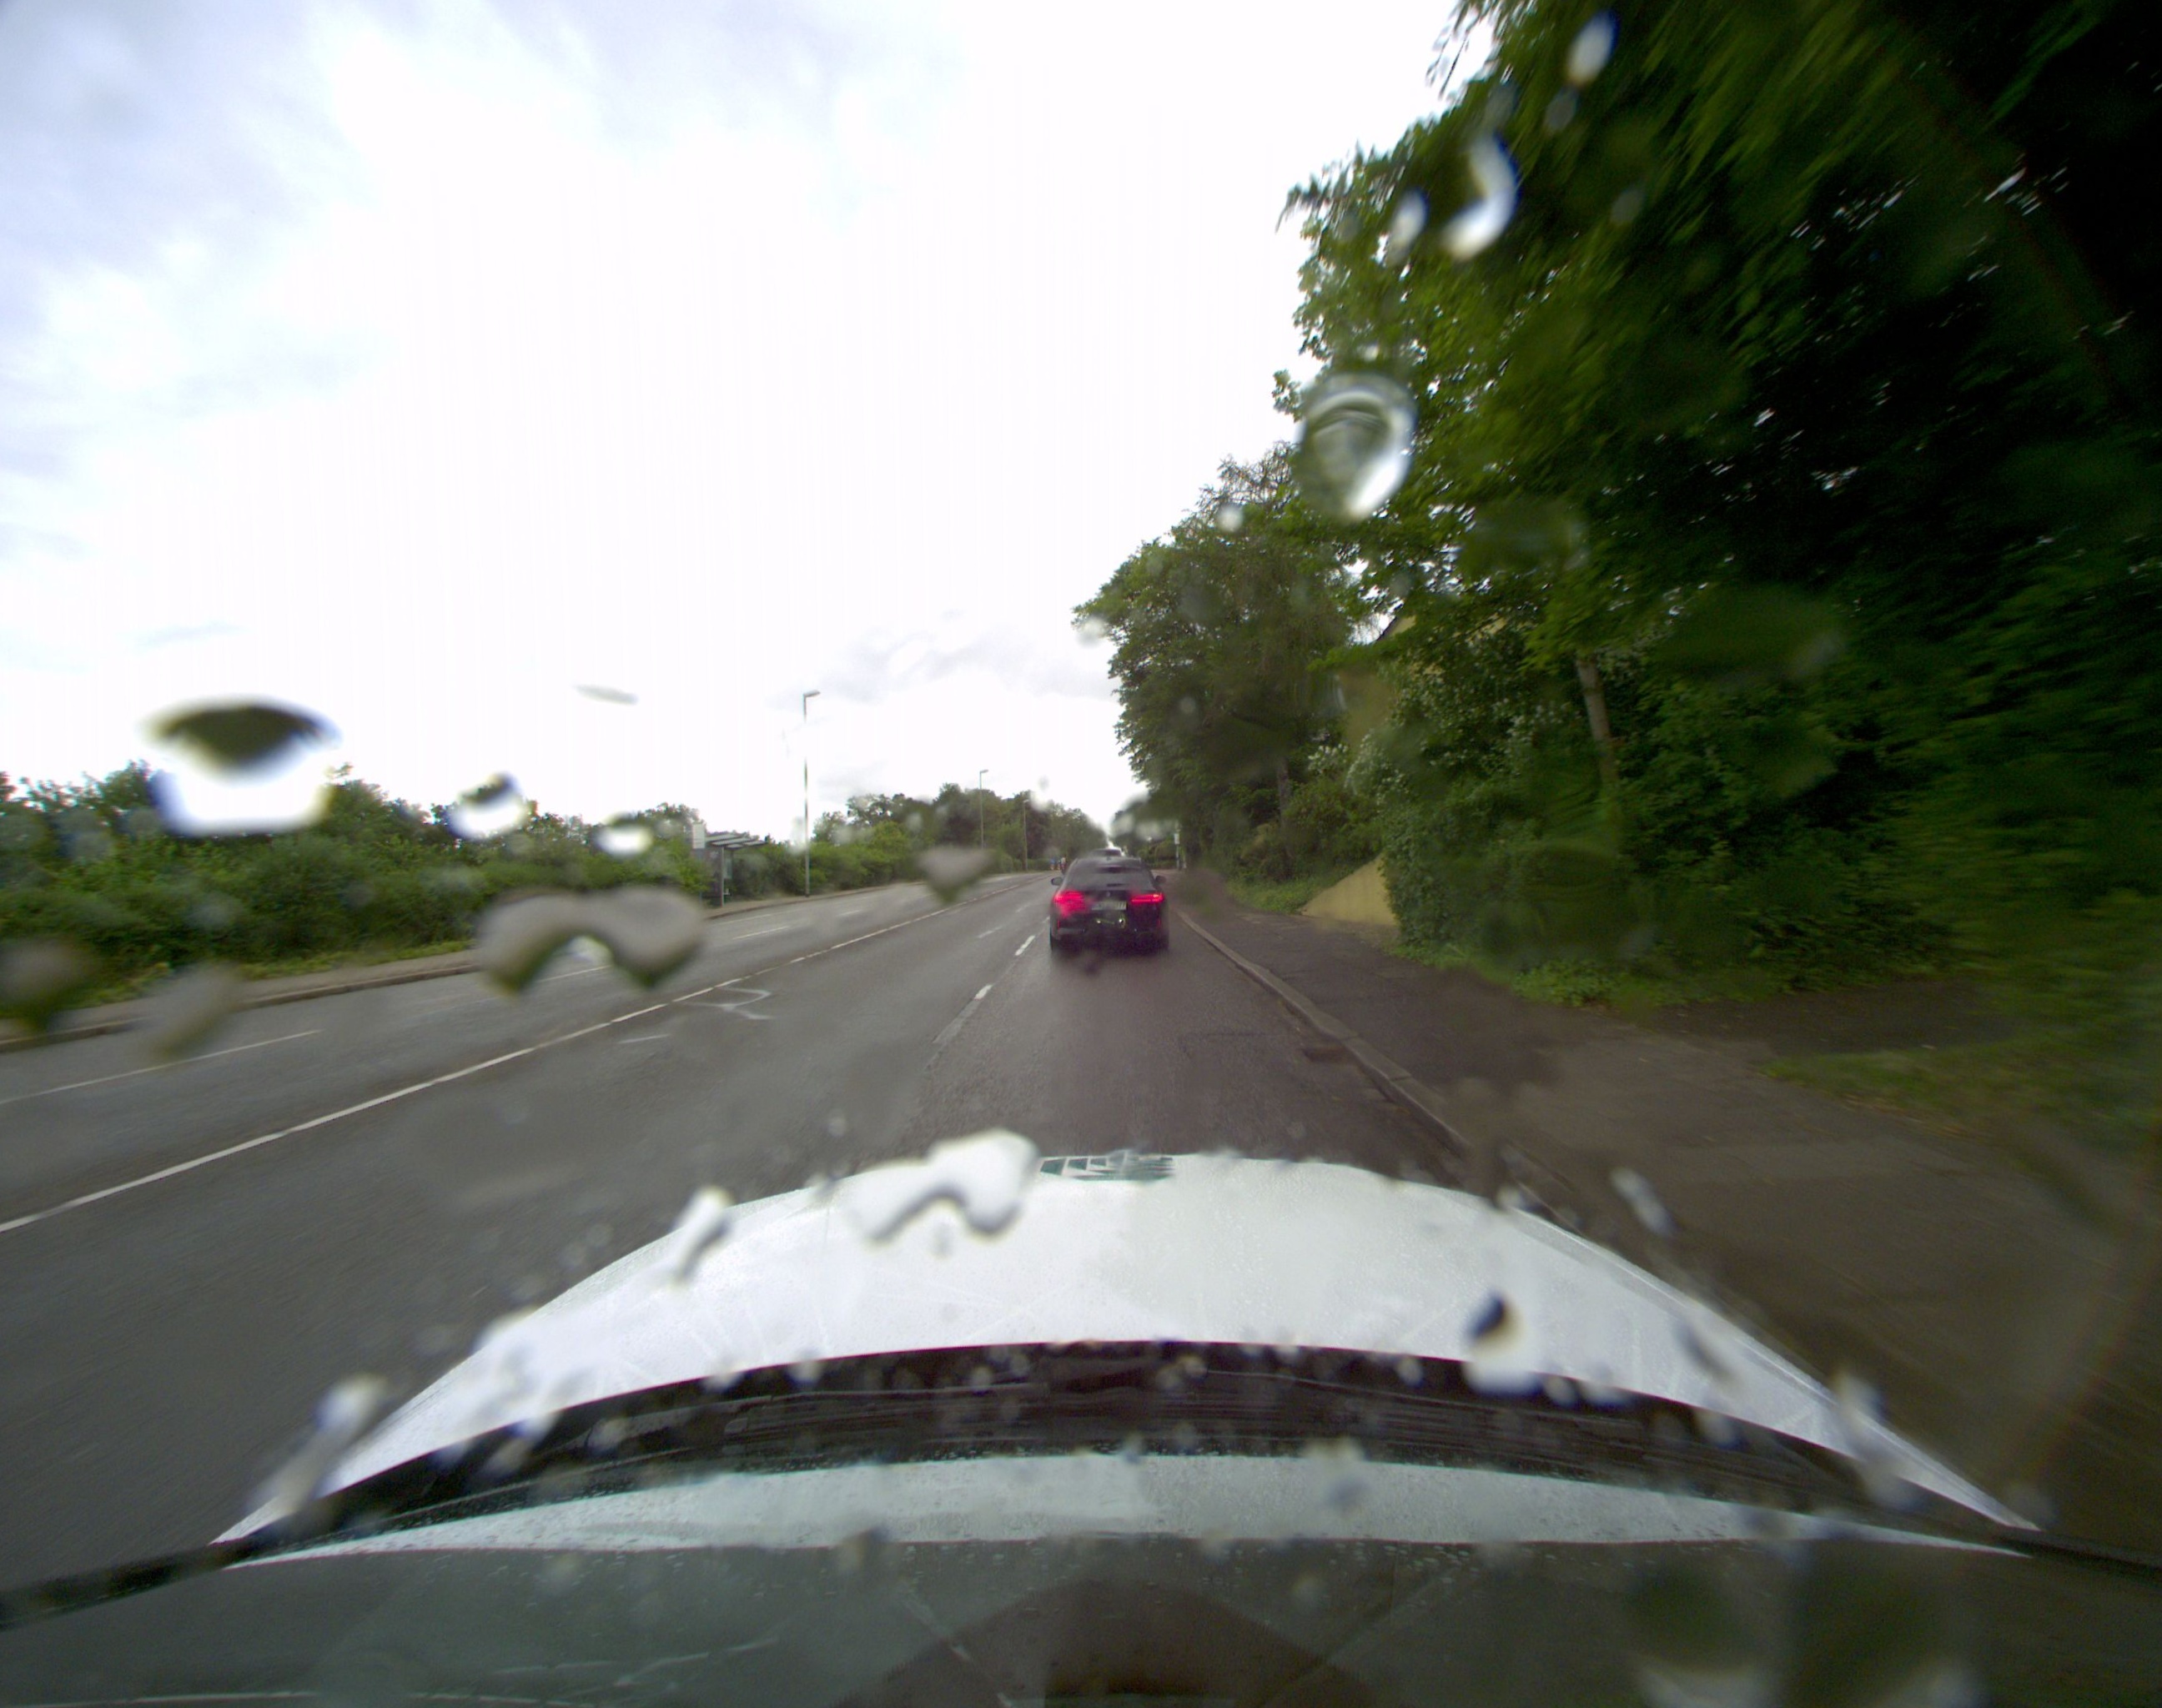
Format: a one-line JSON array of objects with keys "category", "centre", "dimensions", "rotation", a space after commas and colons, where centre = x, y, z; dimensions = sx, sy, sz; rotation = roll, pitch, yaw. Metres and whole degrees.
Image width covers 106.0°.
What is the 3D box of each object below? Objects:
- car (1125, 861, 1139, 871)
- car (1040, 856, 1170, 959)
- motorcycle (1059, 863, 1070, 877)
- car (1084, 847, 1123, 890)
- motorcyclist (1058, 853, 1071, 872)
[{"category": "car", "centre": [7.862, 1.829, 125.473], "dimensions": [1.926, 1.442, 4.413], "rotation": [-2, -1, 4]}, {"category": "car", "centre": [0.455, 0.801, 13.880], "dimensions": [1.889, 1.489, 4.003], "rotation": [0, -1, 3]}, {"category": "motorcycle", "centre": [-1.426, 1.387, 70.500], "dimensions": [0.872, 1.124, 2.742], "rotation": [0, -1, 2]}, {"category": "car", "centre": [1.069, 0.637, 38.085], "dimensions": [1.623, 1.833, 4.002], "rotation": [-3, 0, 2]}, {"category": "motorcyclist", "centre": [-1.413, 0.732, 70.584], "dimensions": [1.035, 1.568, 0.855], "rotation": [0, -1, 1]}]
